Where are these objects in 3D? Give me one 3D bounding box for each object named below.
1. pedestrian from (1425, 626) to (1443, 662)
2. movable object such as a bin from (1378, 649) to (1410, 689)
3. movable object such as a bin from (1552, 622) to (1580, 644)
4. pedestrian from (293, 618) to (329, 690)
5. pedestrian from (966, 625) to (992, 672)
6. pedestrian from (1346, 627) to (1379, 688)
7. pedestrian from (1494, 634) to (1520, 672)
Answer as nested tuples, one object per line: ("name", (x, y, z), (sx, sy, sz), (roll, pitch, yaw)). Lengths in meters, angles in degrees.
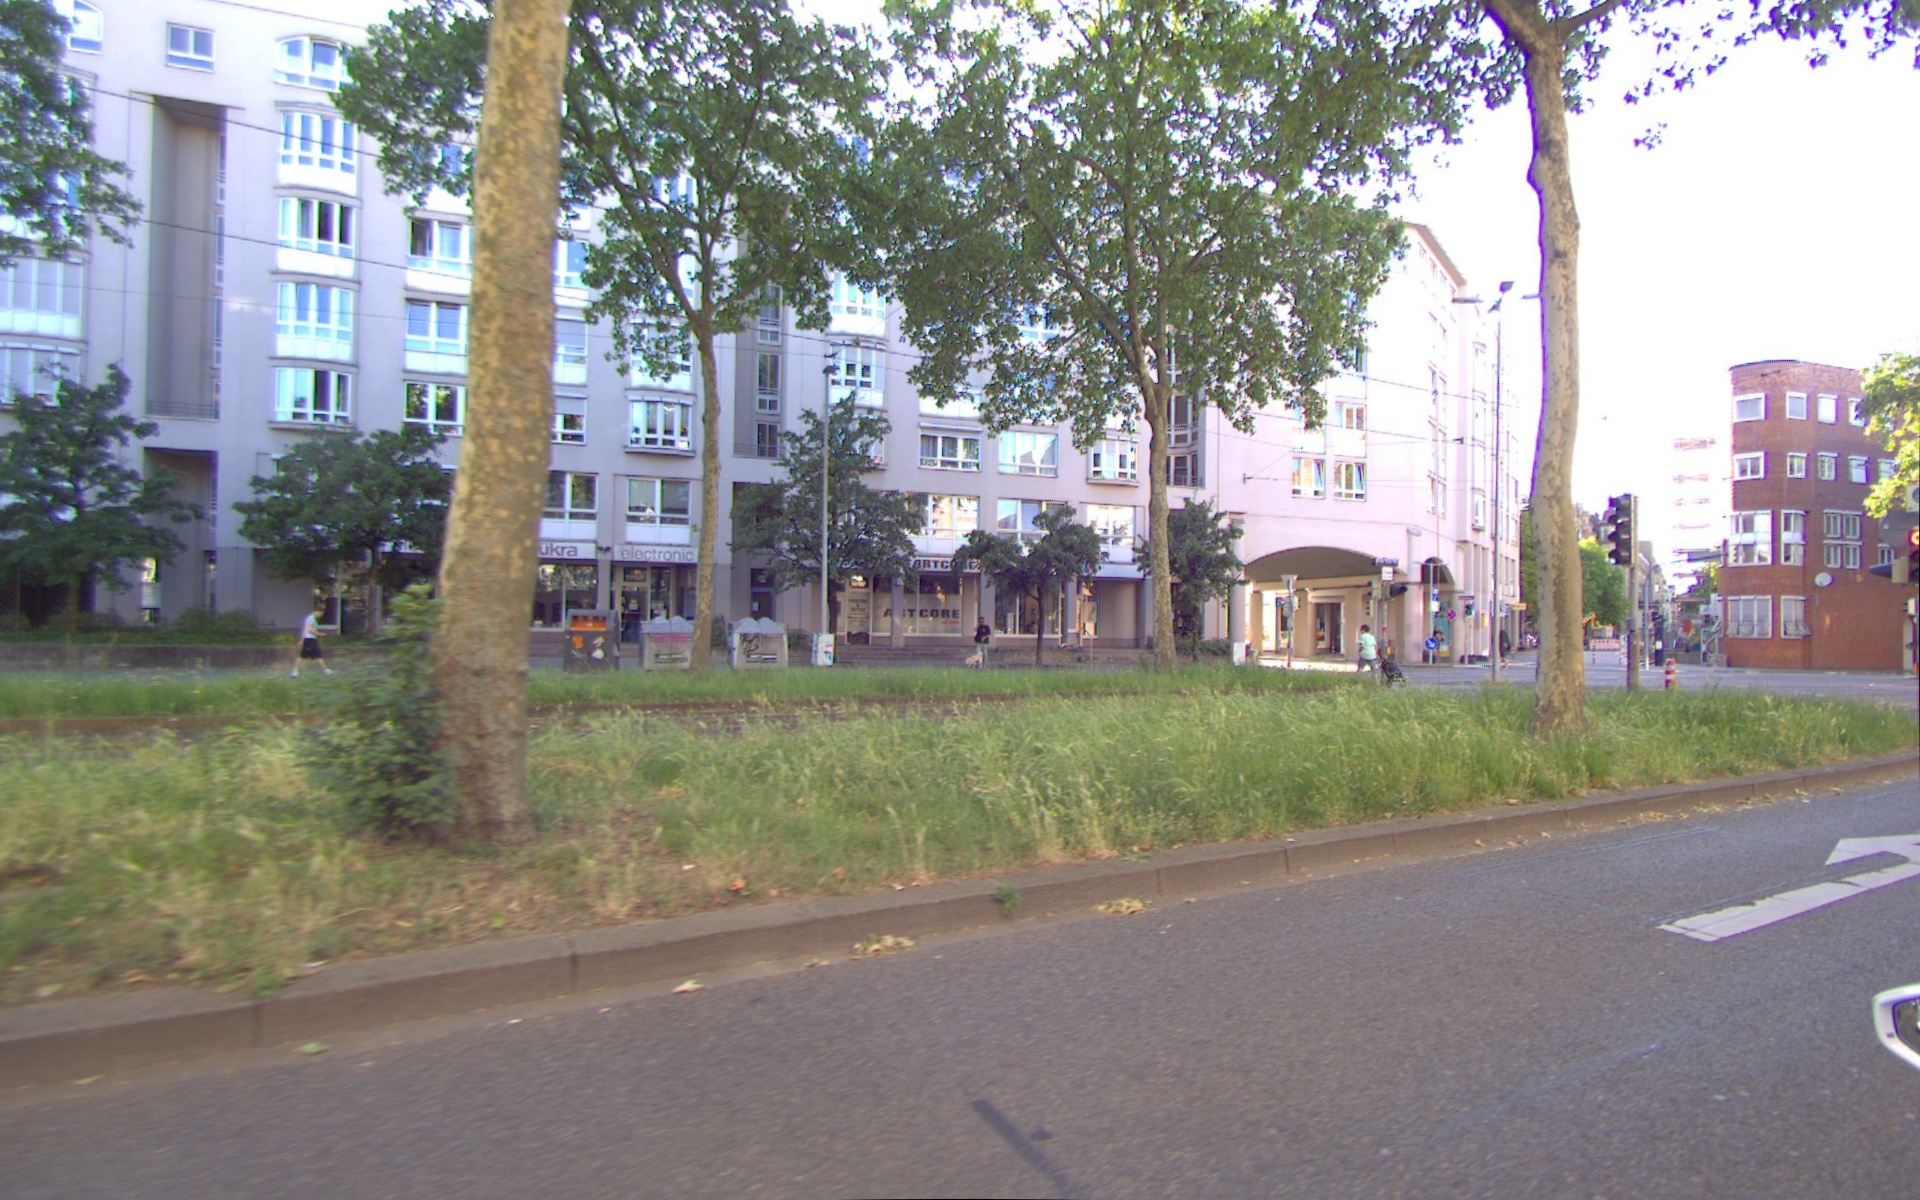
("pedestrian", (27.434, 2.548, 58.170), (0.823, 2.040, 0.885), (0, -1, 34))
("movable object such as a bin", (10.745, 1.704, 24.860), (0.530, 0.966, 0.510), (1, -1, -16))
("movable object such as a bin", (63.711, 3.478, 105.568), (2.769, 2.341, 1.908), (2, -2, -44))
("pedestrian", (-16.131, 1.331, 24.984), (0.639, 1.763, 0.726), (1, -1, -26))
("pedestrian", (0.682, 1.746, 36.179), (0.776, 1.660, 0.706), (1, -1, -18))
("pedestrian", (10.172, 1.439, 25.384), (0.526, 1.523, 0.618), (1, -1, -16))
("pedestrian", (27.286, 2.645, 50.074), (0.742, 1.894, 0.853), (1, -2, -25))
